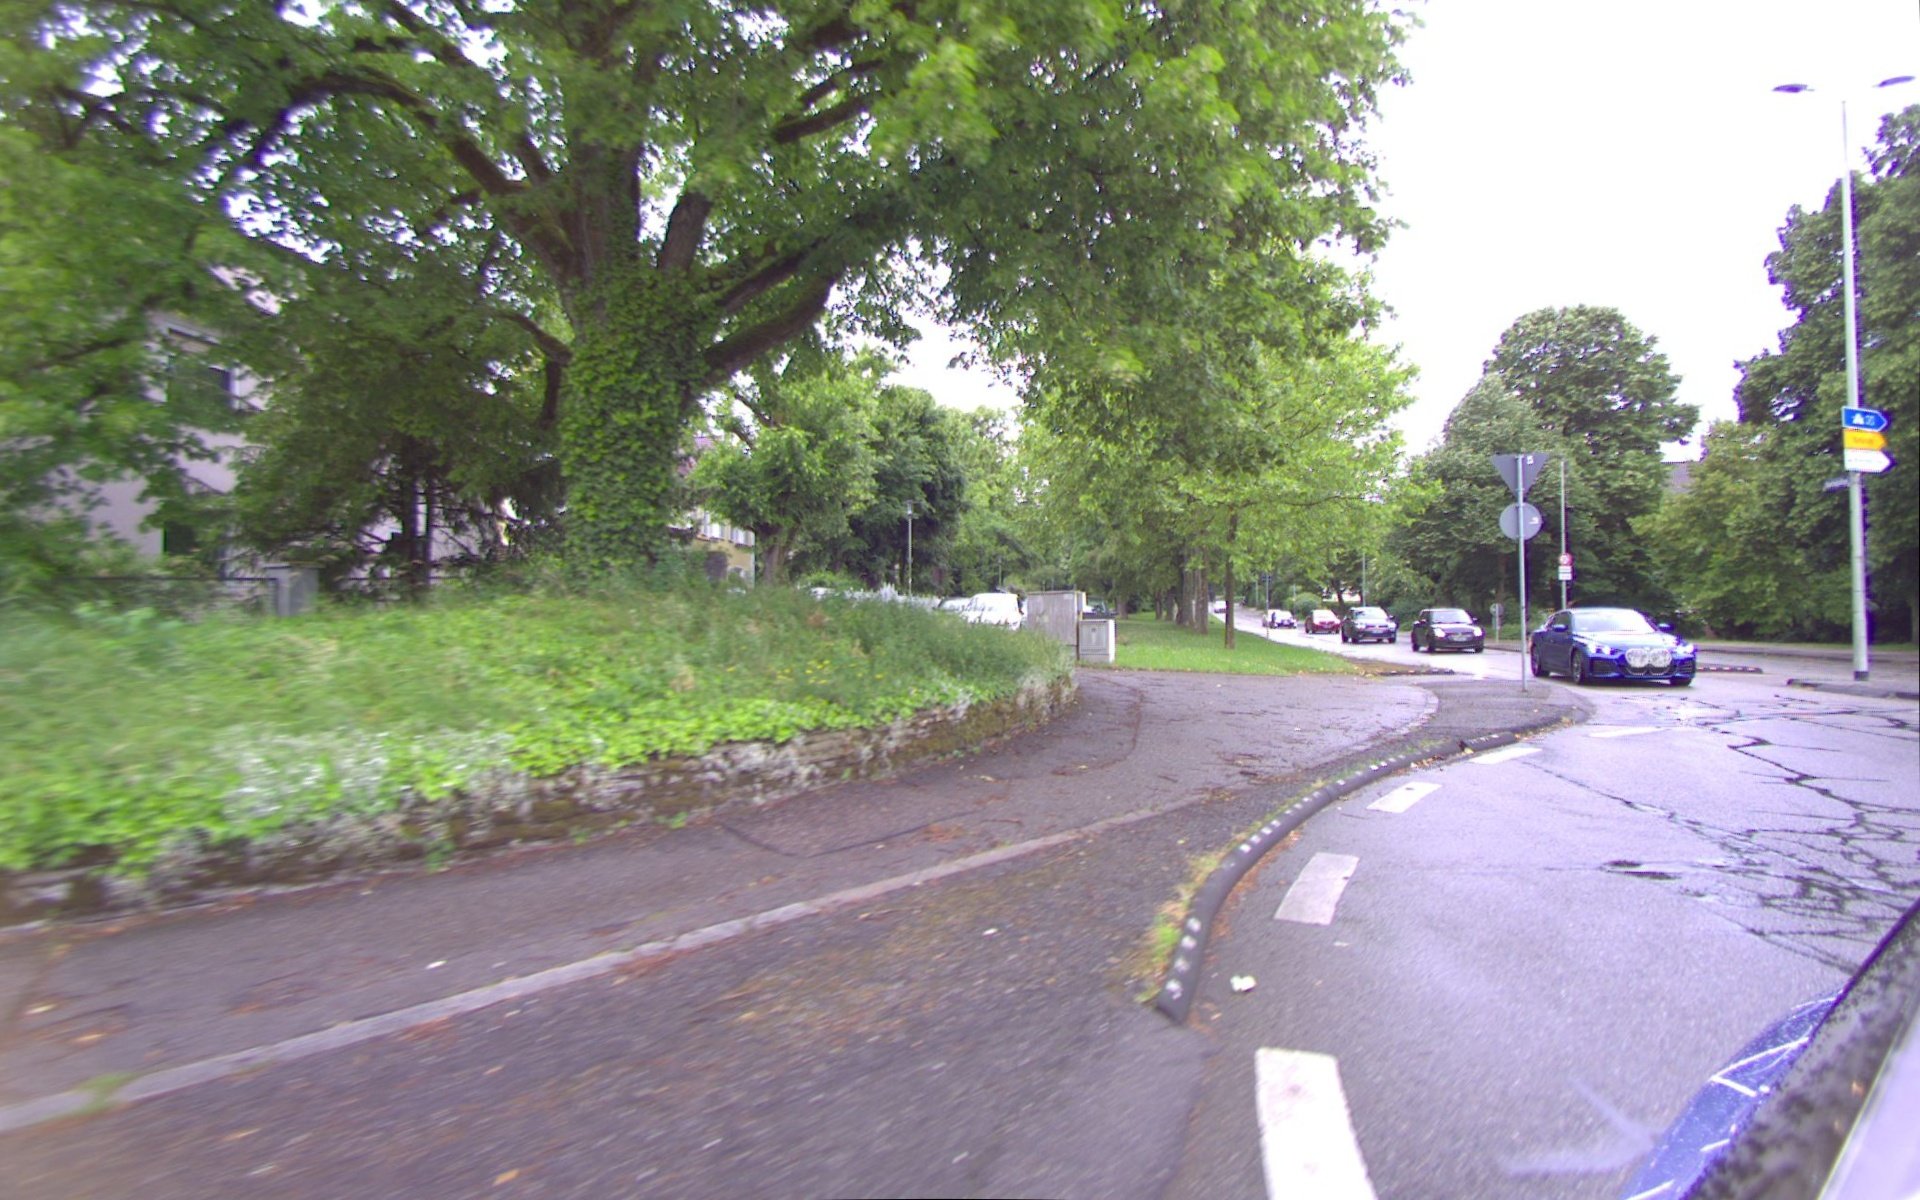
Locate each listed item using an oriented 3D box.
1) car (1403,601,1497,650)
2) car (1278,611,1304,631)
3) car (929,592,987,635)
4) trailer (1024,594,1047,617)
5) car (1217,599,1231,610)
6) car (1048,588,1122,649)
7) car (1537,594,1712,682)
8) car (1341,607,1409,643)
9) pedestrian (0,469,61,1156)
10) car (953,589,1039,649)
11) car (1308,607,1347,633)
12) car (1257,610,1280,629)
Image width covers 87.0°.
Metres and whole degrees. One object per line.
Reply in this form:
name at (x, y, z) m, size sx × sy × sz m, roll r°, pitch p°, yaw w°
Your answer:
car at (16.678, 0.832, 34.677) m, size 1.798 × 1.498 × 4.055 m, roll -2°, pitch 0°, yaw 10°
car at (26.653, 1.685, 81.499) m, size 1.804 × 1.498 × 4.040 m, roll -2°, pitch 0°, yaw 20°
car at (-0.038, 0.529, 41.446) m, size 1.736 × 1.489 × 4.348 m, roll -5°, pitch -1°, yaw 7°
trailer at (7.195, 0.503, 96.369) m, size 1.743 × 2.143 × 5.181 m, roll -2°, pitch 0°, yaw 8°
car at (37.612, 0.670, 144.297) m, size 1.801 × 1.498 × 4.047 m, roll -2°, pitch 0°, yaw 16°
car at (3.487, 0.451, 27.579) m, size 1.742 × 1.489 × 4.584 m, roll 1°, pitch 0°, yaw 10°
car at (12.846, 0.681, 19.855) m, size 1.803 × 1.498 × 4.043 m, roll -2°, pitch 0°, yaw 18°
car at (18.874, 1.101, 46.182) m, size 2.001 × 1.498 × 4.055 m, roll -2°, pitch 0°, yaw 10°
pedestrian at (-2.694, 0.538, 2.408) m, size 0.519 × 1.735 × 0.636 m, roll -2°, pitch -1°, yaw -2°
car at (1.066, 0.465, 27.836) m, size 1.821 × 1.489 × 4.414 m, roll 0°, pitch 0°, yaw 9°
car at (23.356, 1.238, 64.431) m, size 1.800 × 1.498 × 4.051 m, roll -2°, pitch 0°, yaw 13°
car at (27.130, 1.694, 88.878) m, size 1.803 × 1.498 × 4.044 m, roll -2°, pitch 0°, yaw 18°
